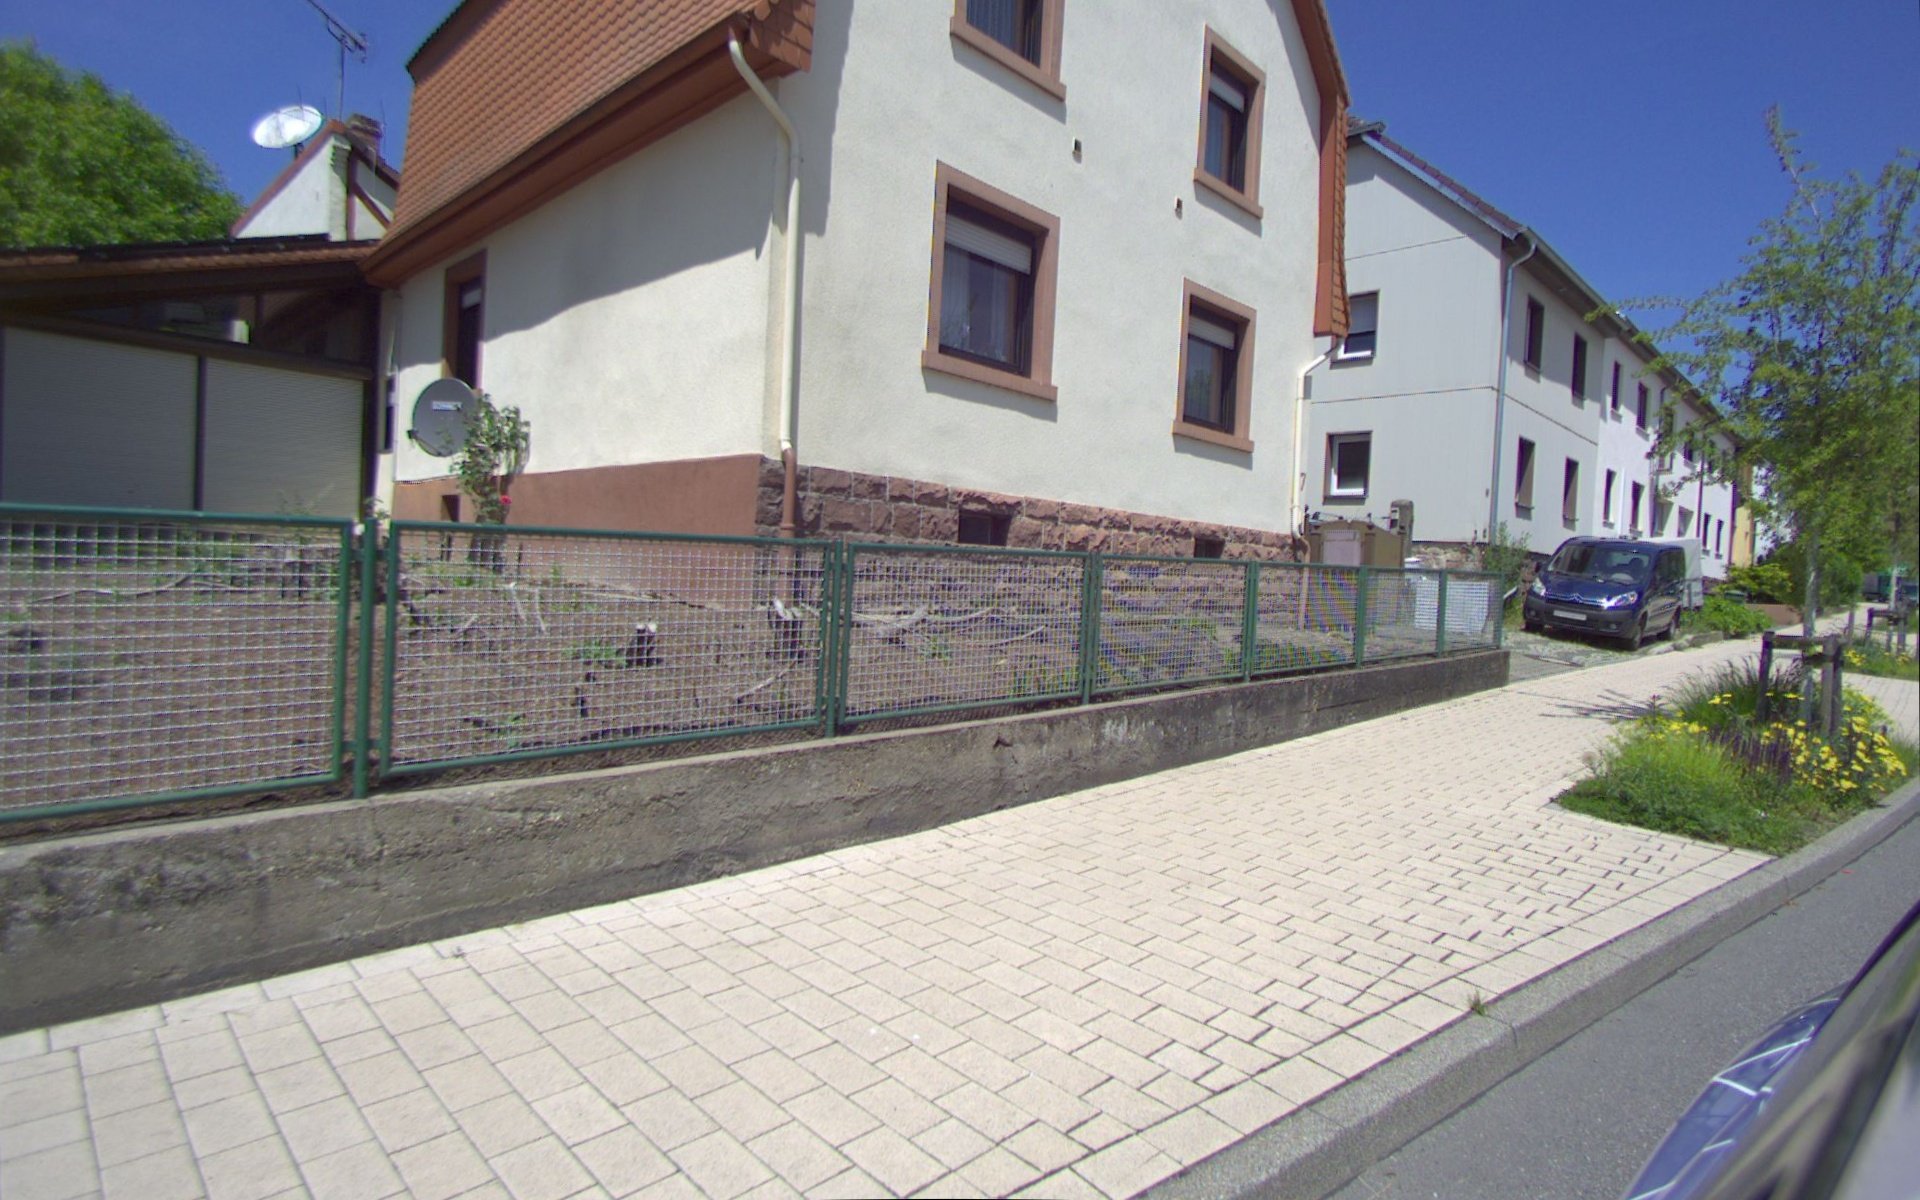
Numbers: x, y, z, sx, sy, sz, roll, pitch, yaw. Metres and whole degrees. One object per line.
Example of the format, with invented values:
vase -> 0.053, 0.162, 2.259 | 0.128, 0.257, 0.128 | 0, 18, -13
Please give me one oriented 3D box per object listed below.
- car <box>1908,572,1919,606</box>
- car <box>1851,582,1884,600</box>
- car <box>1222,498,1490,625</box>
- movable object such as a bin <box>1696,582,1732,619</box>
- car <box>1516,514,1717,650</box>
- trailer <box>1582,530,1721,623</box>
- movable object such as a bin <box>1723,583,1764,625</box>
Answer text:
car -> 55.815, -0.597, 58.080 | 1.855, 1.864, 4.600 | 5, 4, 41
car -> 76.328, -0.778, 85.173 | 1.667, 1.393, 3.947 | 4, 3, 37
car -> 7.109, -0.773, 18.470 | 1.860, 1.785, 3.997 | 0, 8, -43
movable object such as a bin -> 22.020, 0.005, 29.568 | 0.788, 0.997, 0.560 | 0, 6, -38
car -> 12.535, -0.364, 19.190 | 4.695, 1.990, 1.859 | 0, 13, -44
trailer -> 15.731, -0.528, 23.093 | 2.229, 2.039, 1.325 | 0, 1, -2
movable object such as a bin -> 22.583, 0.102, 29.162 | 0.798, 1.128, 0.686 | -1, 6, -39
